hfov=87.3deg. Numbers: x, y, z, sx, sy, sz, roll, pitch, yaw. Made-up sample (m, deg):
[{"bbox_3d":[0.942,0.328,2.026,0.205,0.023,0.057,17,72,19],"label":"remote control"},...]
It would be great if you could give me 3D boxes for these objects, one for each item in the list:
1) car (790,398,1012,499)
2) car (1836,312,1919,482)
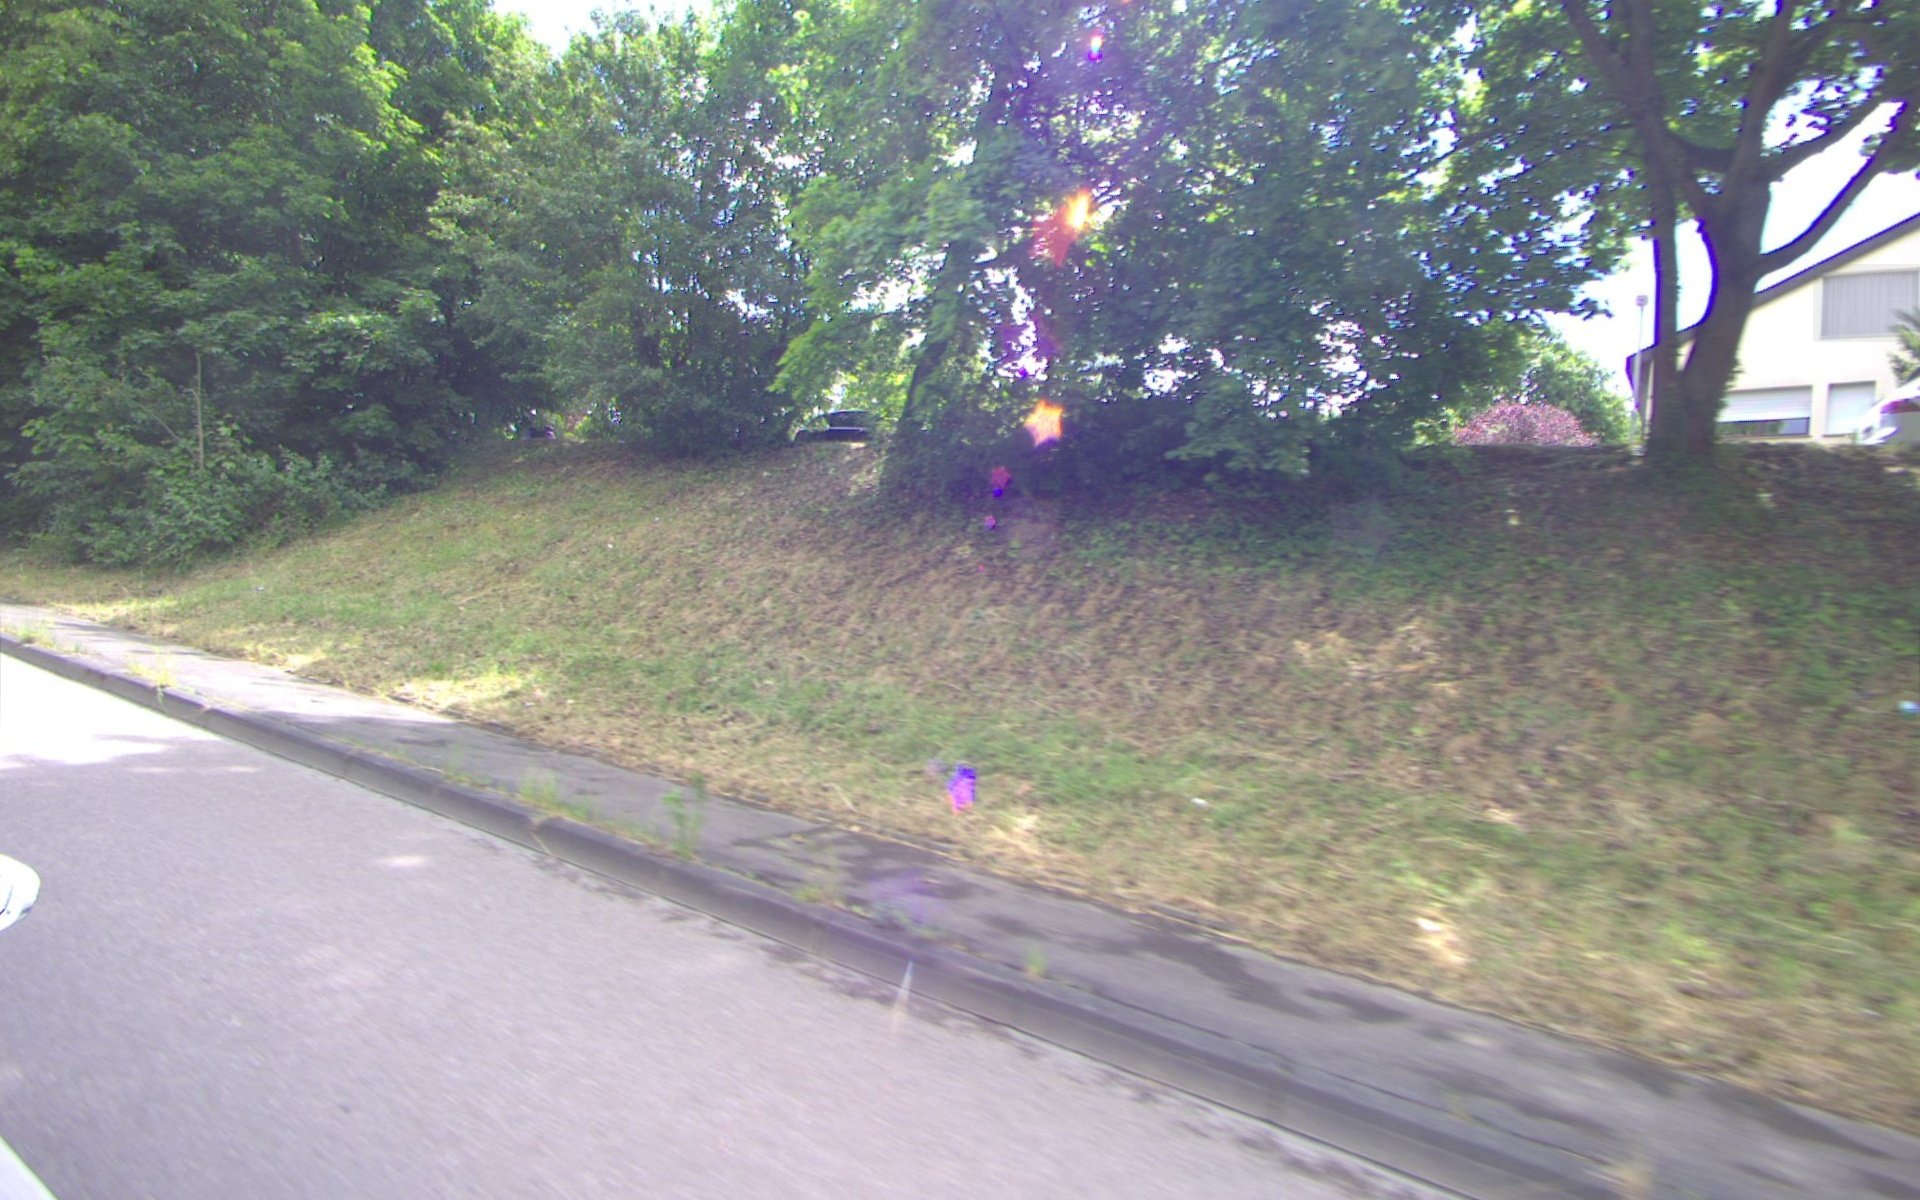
[{"bbox_3d":[-1.191,-3.016,19.954,3.929,1.516,1.778,7,-2,30],"label":"car"},{"bbox_3d":[12.489,-2.179,11.039,3.929,1.516,1.778,7,-2,30],"label":"car"}]
